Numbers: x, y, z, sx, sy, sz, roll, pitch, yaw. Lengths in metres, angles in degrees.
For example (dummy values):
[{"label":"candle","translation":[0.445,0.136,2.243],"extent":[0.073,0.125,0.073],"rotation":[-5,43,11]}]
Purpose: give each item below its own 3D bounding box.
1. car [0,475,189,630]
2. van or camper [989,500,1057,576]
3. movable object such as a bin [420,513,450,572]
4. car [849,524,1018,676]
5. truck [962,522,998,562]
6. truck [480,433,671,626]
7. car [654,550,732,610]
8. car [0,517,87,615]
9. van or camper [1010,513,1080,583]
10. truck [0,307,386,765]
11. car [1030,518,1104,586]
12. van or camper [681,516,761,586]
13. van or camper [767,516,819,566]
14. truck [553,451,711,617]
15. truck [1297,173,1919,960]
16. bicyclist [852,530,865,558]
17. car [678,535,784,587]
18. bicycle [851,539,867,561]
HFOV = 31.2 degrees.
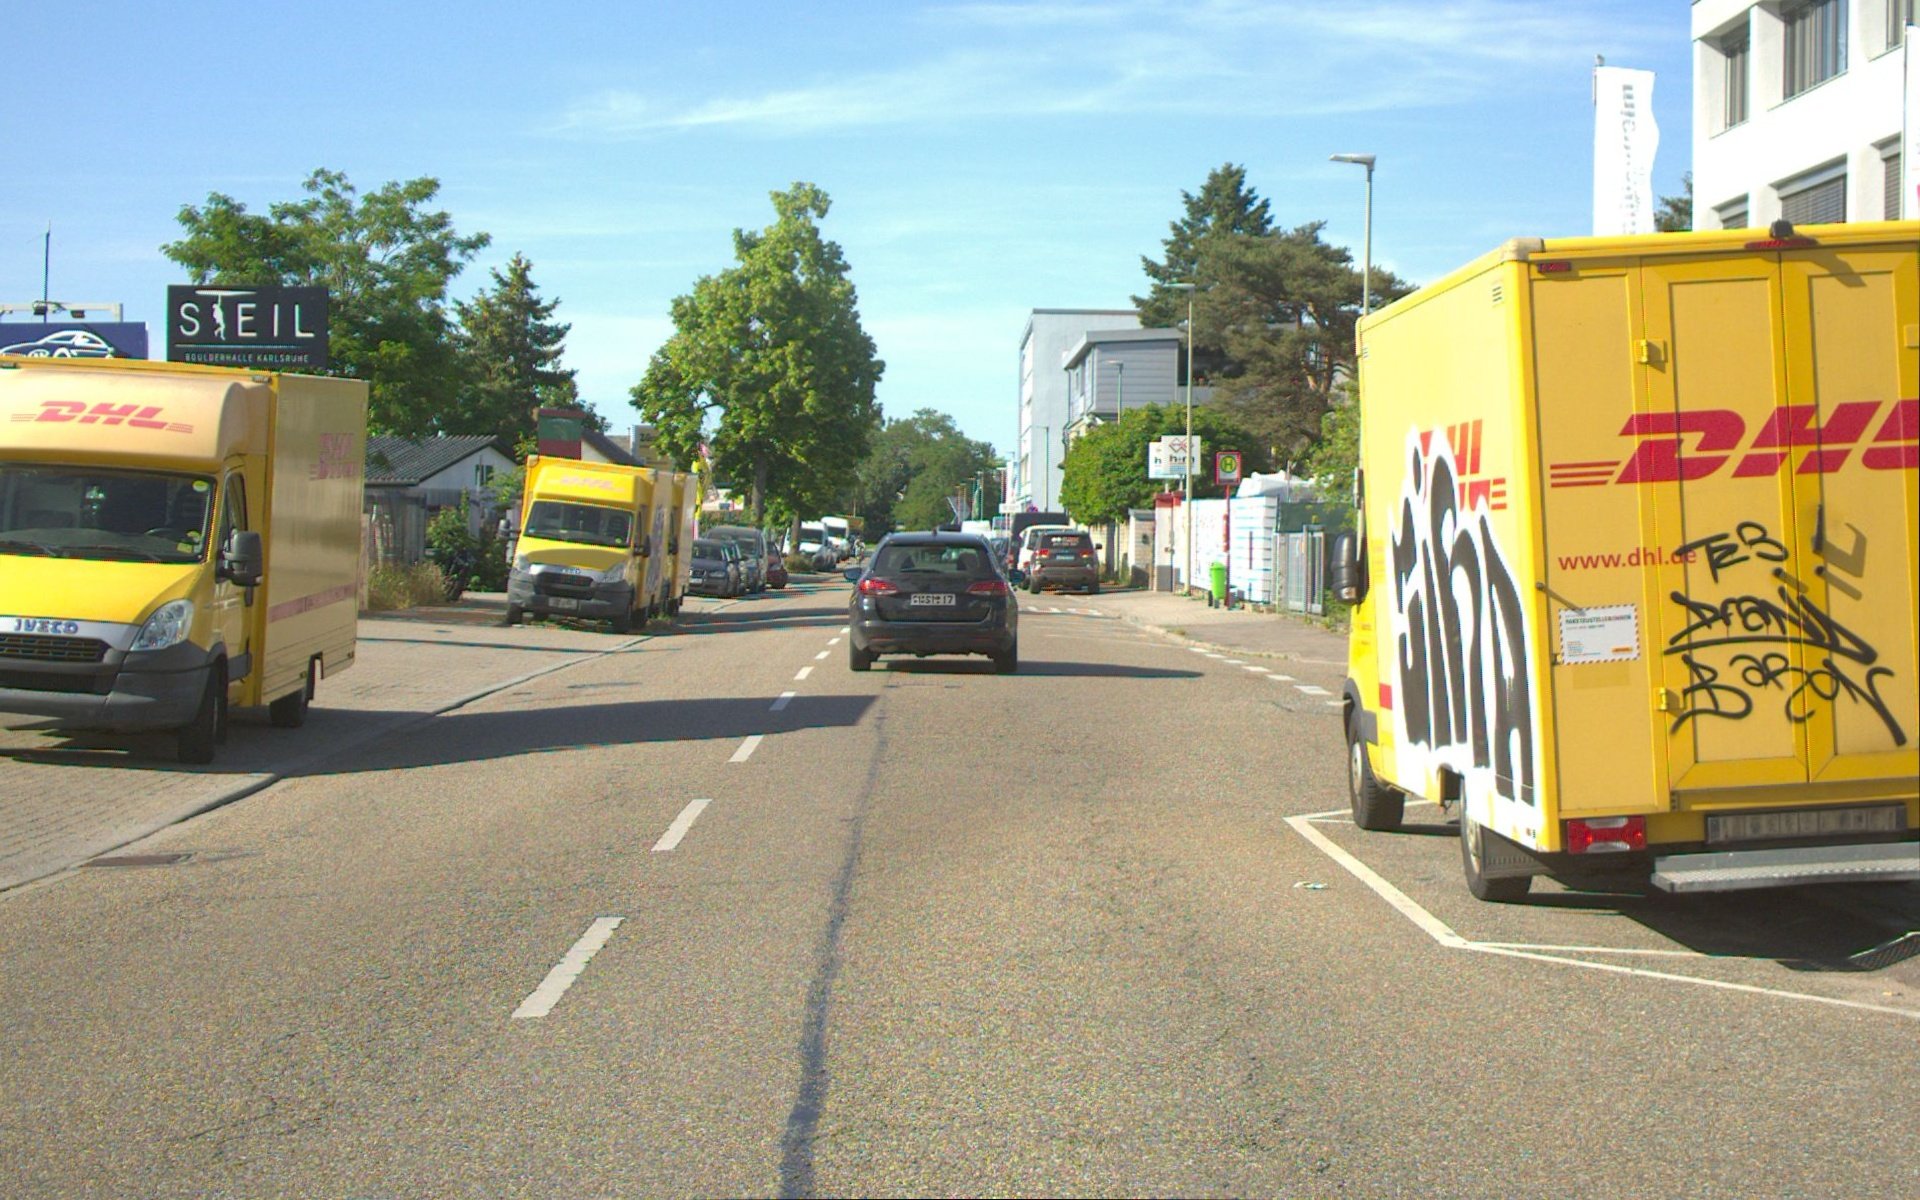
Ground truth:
[{"label":"car","translation":[-12.738,-0.658,46.173],"extent":[4.249,2.007,1.868],"rotation":[1,1,8]},{"label":"van or camper","translation":[1.944,-1.937,107.230],"extent":[1.993,2.302,4.000],"rotation":[1,1,0]},{"label":"movable object such as a bin","translation":[-11.884,-1.300,77.840],"extent":[0.585,1.335,0.549],"rotation":[1,1,0]},{"label":"car","translation":[-0.251,-0.040,36.977],"extent":[1.712,1.527,3.687],"rotation":[0,1,1]},{"label":"truck","translation":[1.141,-3.410,201.367],"extent":[1.993,2.280,6.956],"rotation":[1,1,0]},{"label":"truck","translation":[-6.394,-1.178,57.969],"extent":[2.402,2.972,6.374],"rotation":[3,1,0]},{"label":"car","translation":[-6.680,-0.524,86.473],"extent":[1.756,1.398,4.558],"rotation":[1,1,-2]},{"label":"car","translation":[-16.356,-0.583,57.539],"extent":[1.695,1.573,4.042],"rotation":[1,2,13]},{"label":"van or camper","translation":[2.491,-1.552,101.926],"extent":[1.919,2.012,4.080],"rotation":[1,1,0]},{"label":"truck","translation":[-6.187,-0.509,26.421],"extent":[2.402,2.972,7.246],"rotation":[3,1,-2]},{"label":"car","translation":[2.976,-1.360,96.422],"extent":[1.919,1.819,4.080],"rotation":[1,1,0]},{"label":"van or camper","translation":[-6.681,-1.373,96.347],"extent":[1.891,1.919,4.266],"rotation":[0,0,1]},{"label":"van or camper","translation":[-8.139,-2.901,167.530],"extent":[2.323,2.354,6.529],"rotation":[1,1,-4]},{"label":"truck","translation":[-6.171,-1.256,65.446],"extent":[2.193,2.892,6.439],"rotation":[3,1,1]},{"label":"truck","translation":[3.220,-0.188,16.445],"extent":[2.402,2.926,7.017],"rotation":[-1,1,0]},{"label":"bicyclist","translation":[-5.514,-3.060,187.264],"extent":[0.695,1.534,0.635],"rotation":[1,1,-2]},{"label":"car","translation":[-6.902,-1.181,103.356],"extent":[1.875,1.480,4.045],"rotation":[-1,2,-24]},{"label":"bicycle","translation":[-5.496,-2.729,187.290],"extent":[0.829,1.149,2.941],"rotation":[1,1,-2]}]
